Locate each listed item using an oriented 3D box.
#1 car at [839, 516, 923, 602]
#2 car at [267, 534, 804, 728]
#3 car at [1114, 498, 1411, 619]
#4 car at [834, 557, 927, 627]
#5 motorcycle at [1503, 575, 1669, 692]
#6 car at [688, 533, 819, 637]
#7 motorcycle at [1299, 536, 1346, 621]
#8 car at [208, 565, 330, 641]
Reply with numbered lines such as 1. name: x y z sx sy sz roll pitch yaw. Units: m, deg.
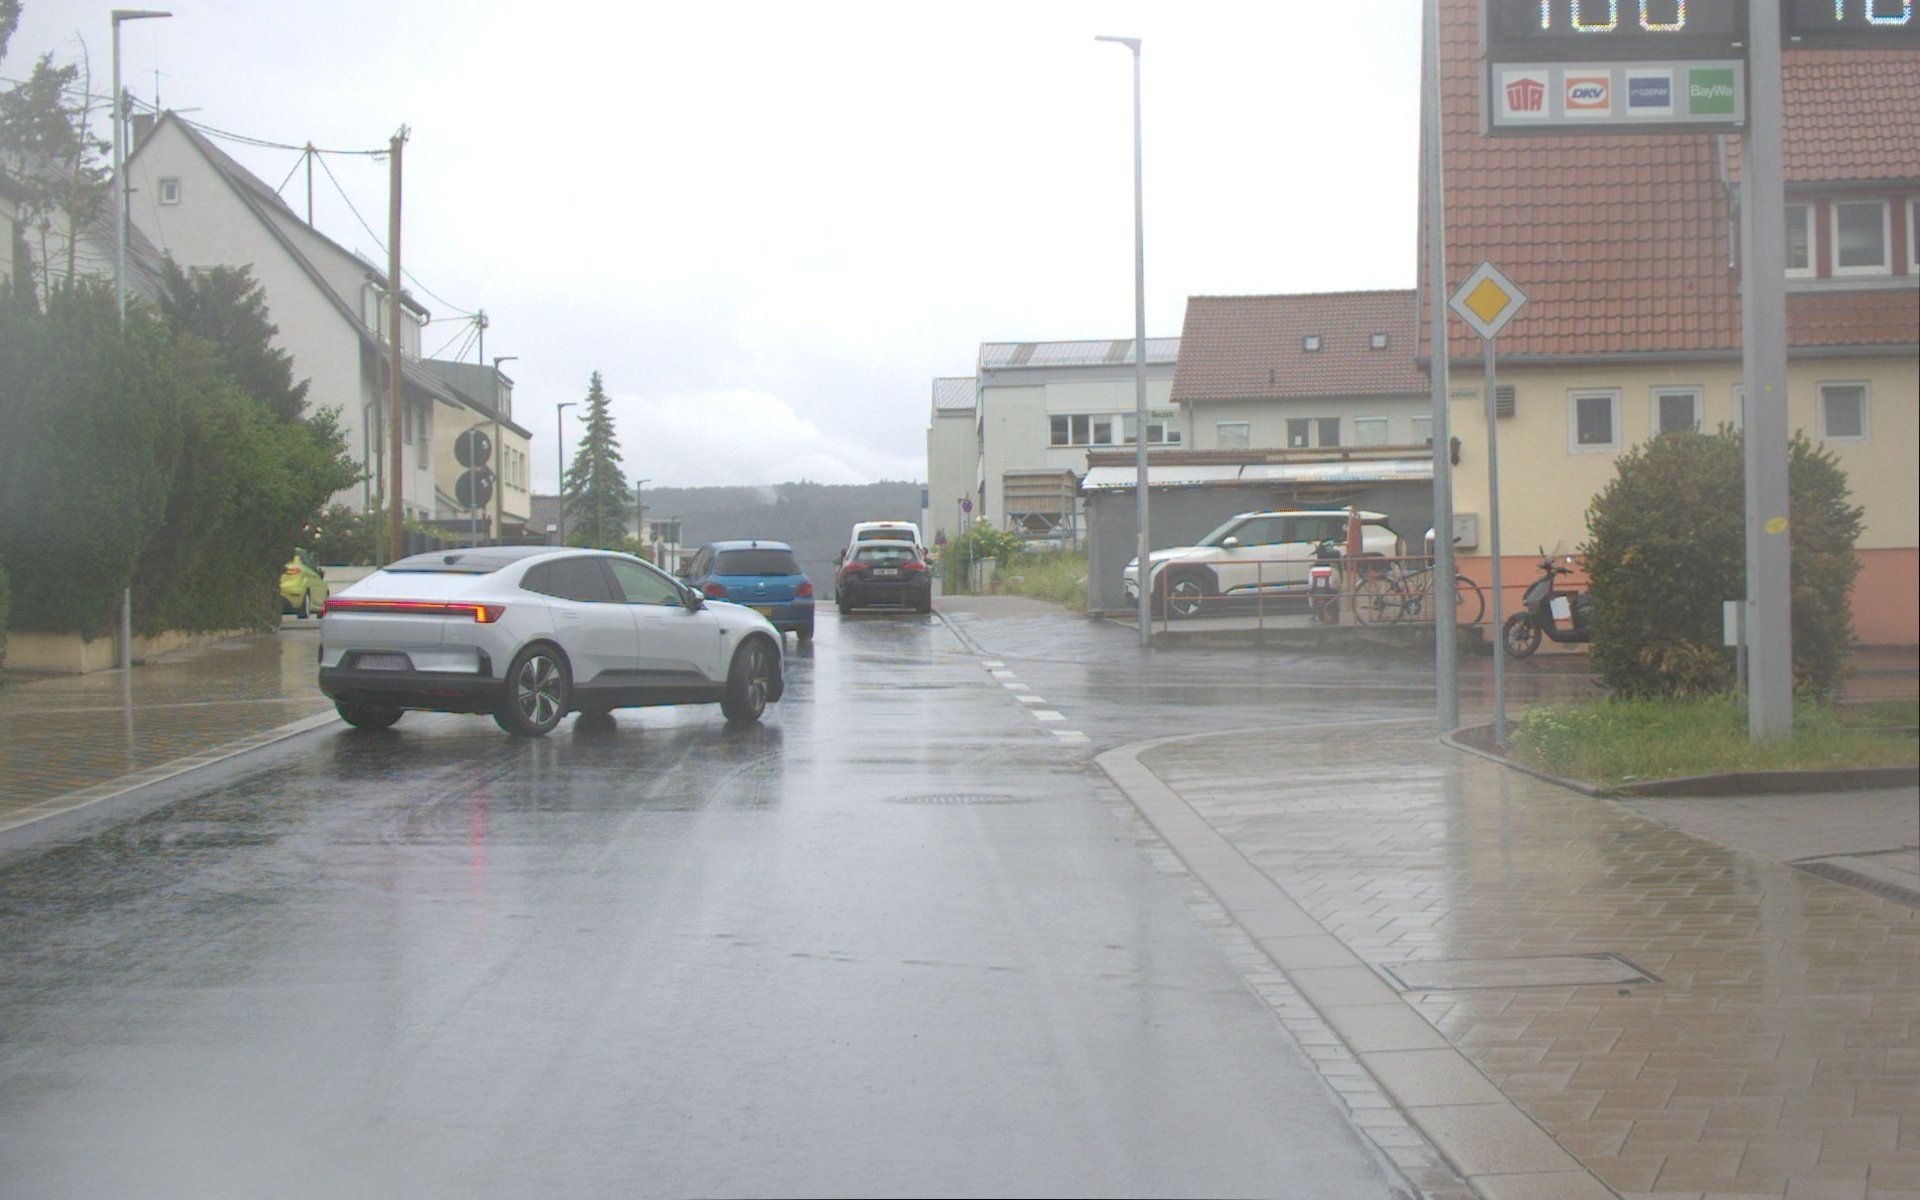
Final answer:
1. car: -1.755 -0.911 75.147 1.768 1.819 4.575 0 1 -2
2. car: -3.517 0.206 29.368 1.997 1.497 4.661 0 1 33
3. car: 4.570 -0.627 52.313 4.216 1.604 1.861 -3 0 -3
4. car: -1.611 -0.179 68.359 1.768 1.331 4.321 0 1 -2
5. motorcycle: 7.849 0.411 43.118 2.034 1.451 0.489 0 1 11
6. car: -3.141 -0.254 52.968 1.928 1.534 4.321 0 1 -2
7. motorcycle: 4.880 -0.306 46.373 0.487 1.092 2.000 0 2 2
8. car: -13.645 0.057 68.041 1.778 1.462 3.457 -1 0 -1
